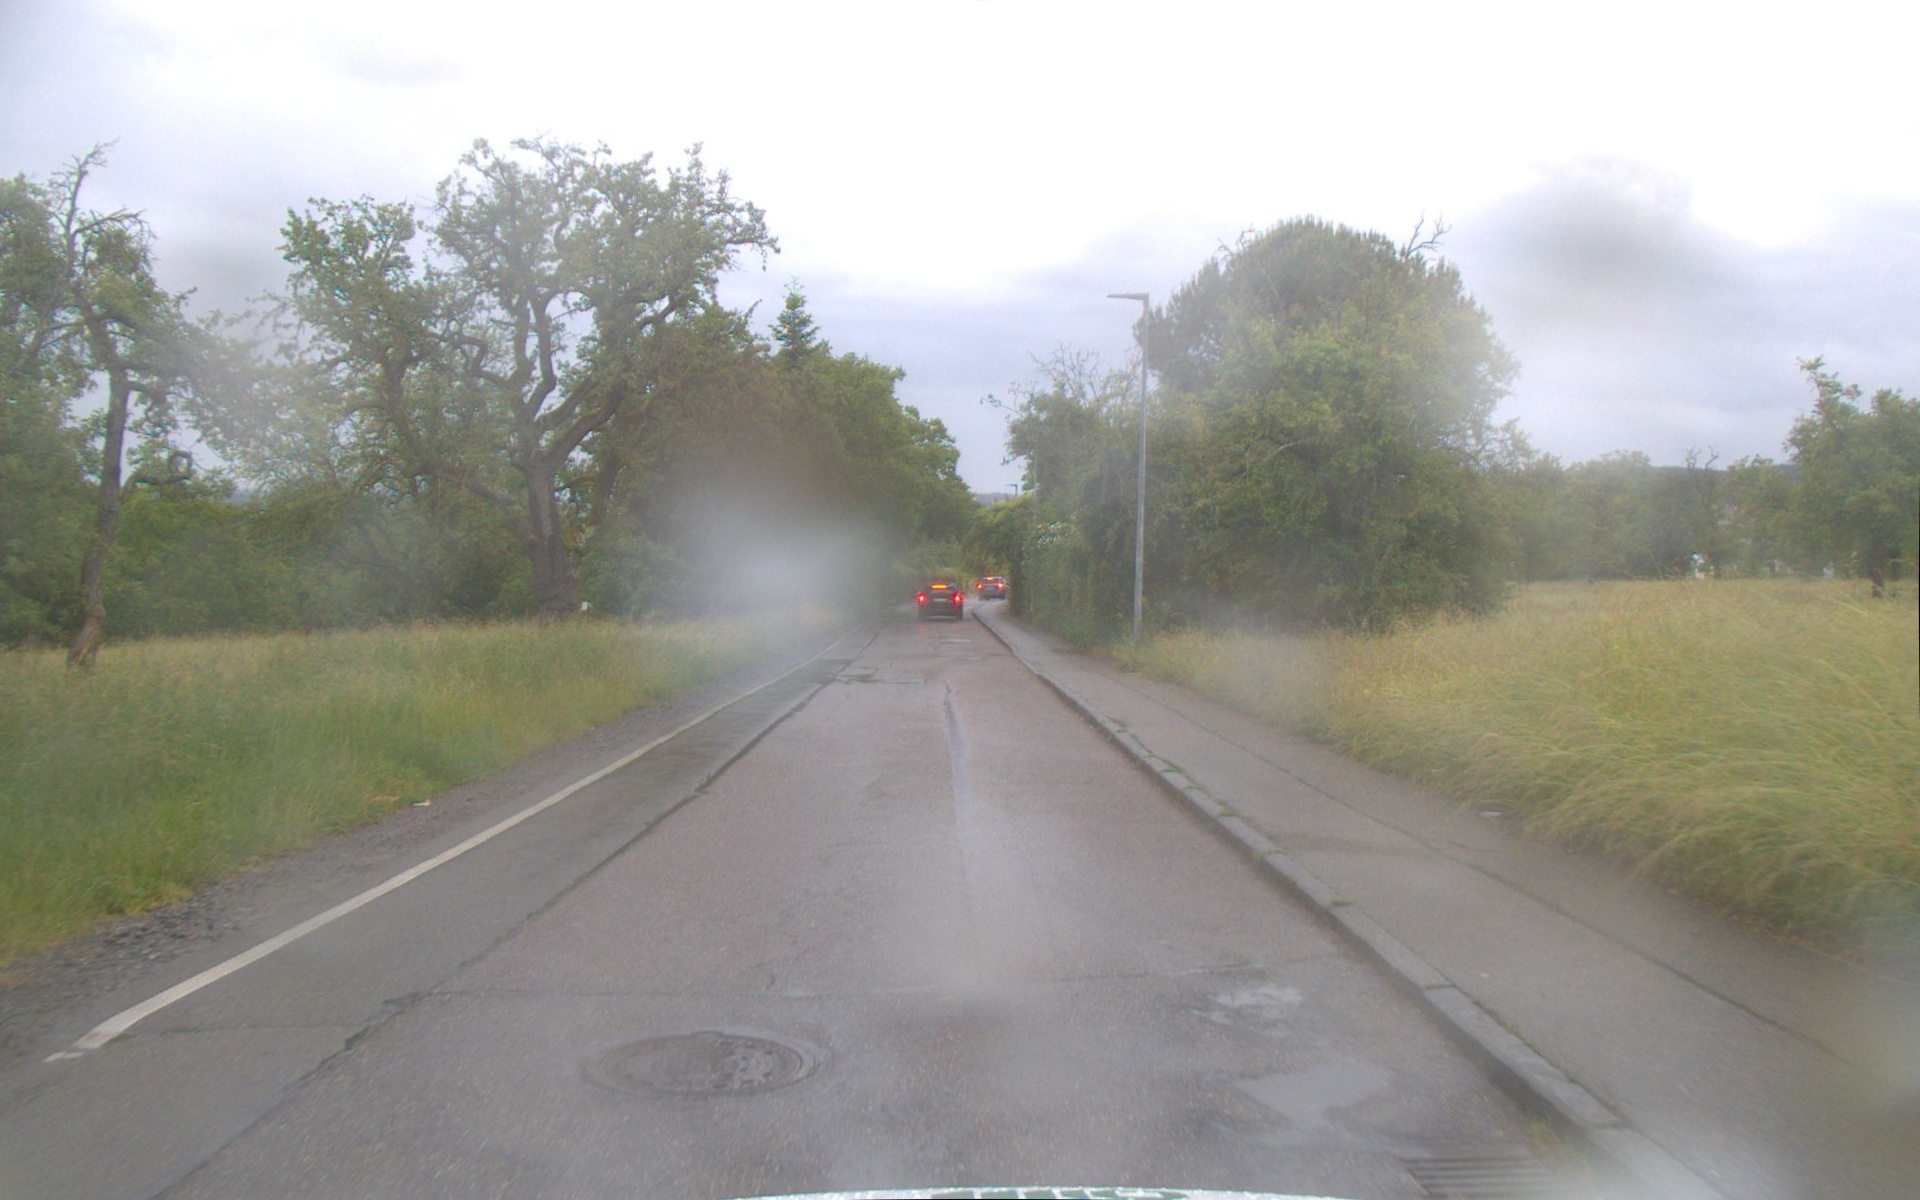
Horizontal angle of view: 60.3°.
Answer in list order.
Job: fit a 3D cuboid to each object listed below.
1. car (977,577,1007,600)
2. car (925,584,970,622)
[{"bbox_3d":[2.136,-0.763,109.801,1.600,1.439,3.547,0,-1,7],"label":"car"},{"bbox_3d":[-0.484,0.140,66.187,1.600,1.475,3.545,0,-1,3],"label":"car"}]
